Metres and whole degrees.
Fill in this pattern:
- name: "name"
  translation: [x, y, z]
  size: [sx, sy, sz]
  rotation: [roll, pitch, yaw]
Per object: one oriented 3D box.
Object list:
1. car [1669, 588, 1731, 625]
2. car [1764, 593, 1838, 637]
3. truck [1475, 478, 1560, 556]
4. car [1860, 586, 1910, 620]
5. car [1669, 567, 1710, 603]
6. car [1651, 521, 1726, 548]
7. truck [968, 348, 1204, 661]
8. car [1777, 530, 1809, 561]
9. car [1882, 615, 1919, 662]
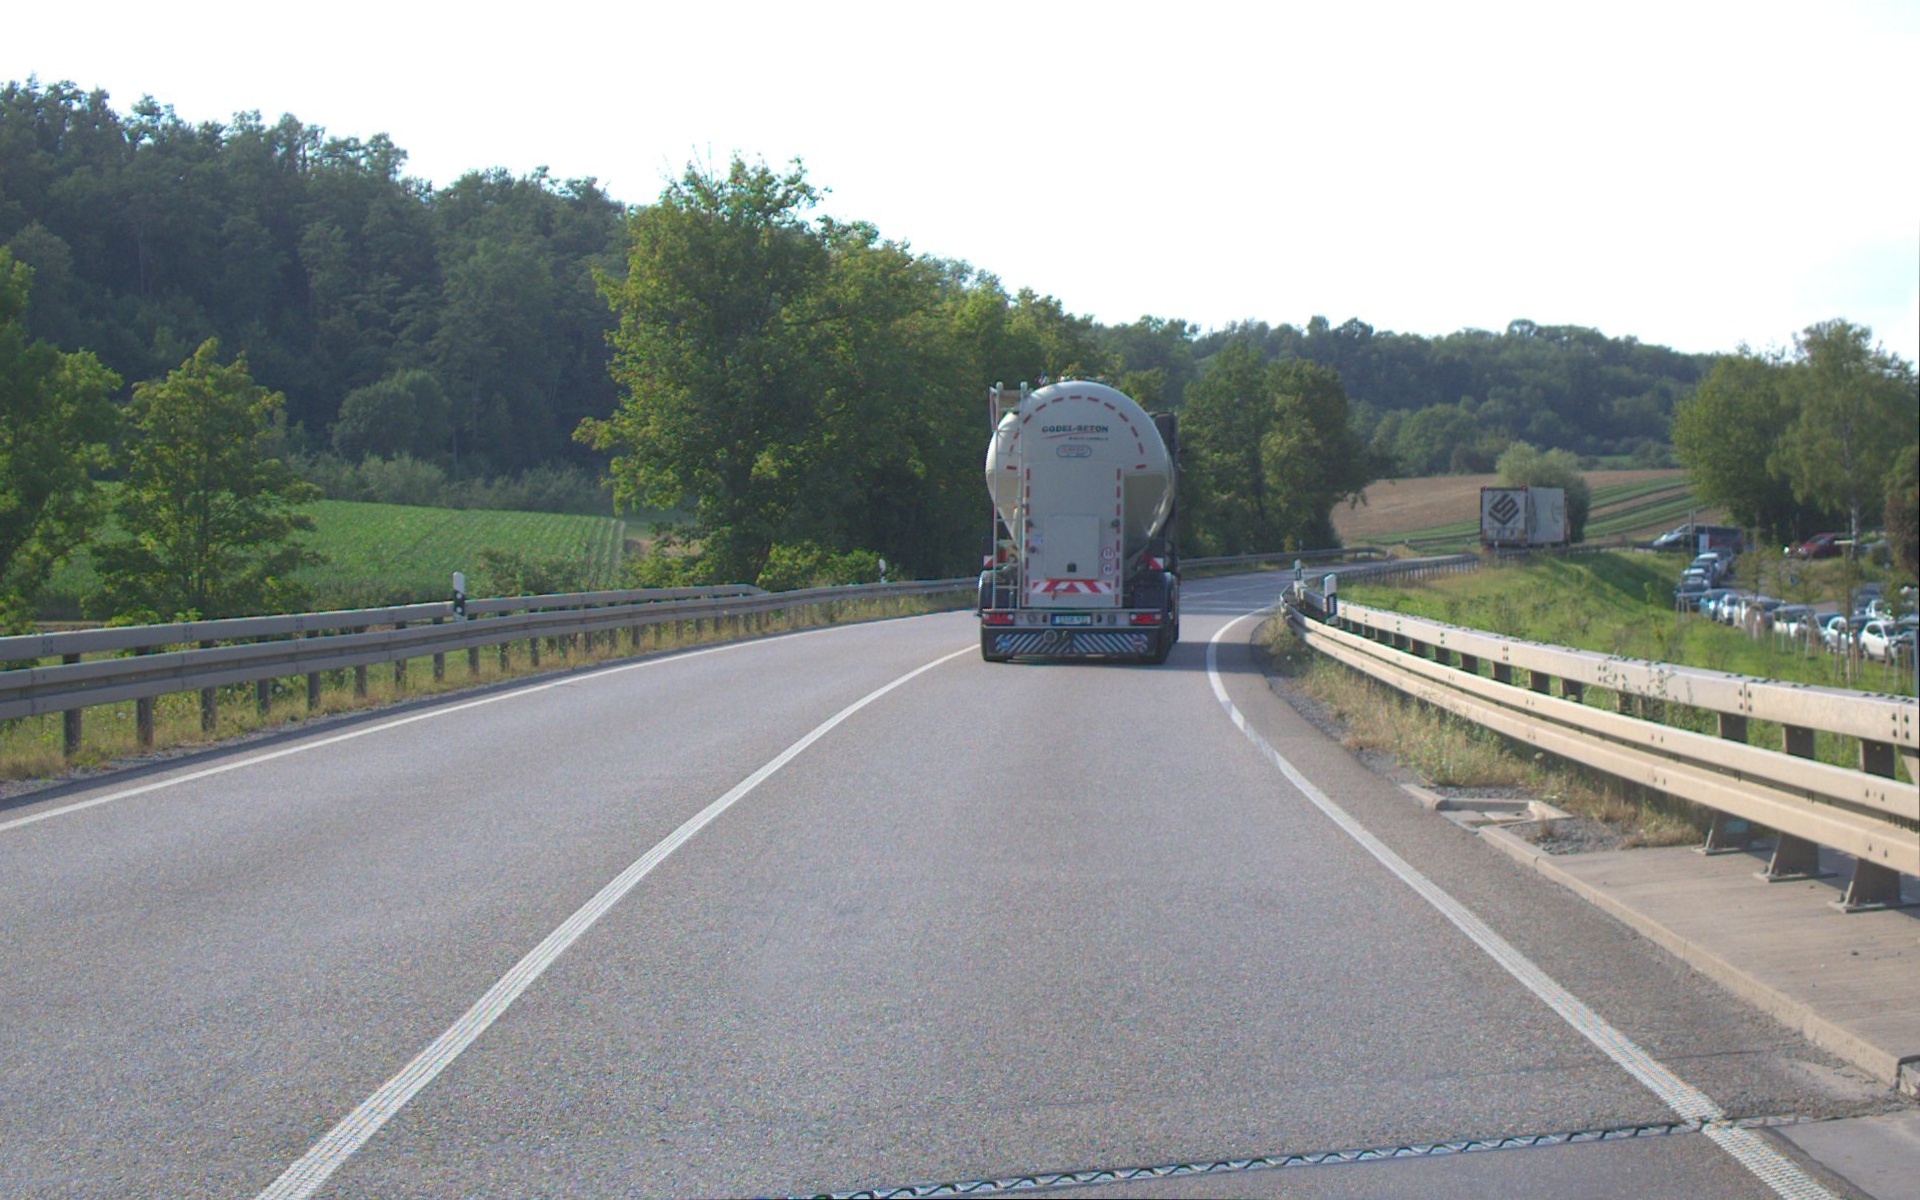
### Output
- name: "car"
  translation: [37.106, 0.308, 172.433]
  size: [1.892, 1.554, 4.783]
  rotation: [-4, 2, -1]
- name: "car"
  translation: [36.498, 0.626, 149.349]
  size: [1.892, 1.554, 4.783]
  rotation: [-4, 2, -1]
- name: "truck"
  translation: [31.834, -4.812, 195.964]
  size: [3.186, 4.213, 13.163]
  rotation: [0, 2, 16]
- name: "car"
  translation: [42.731, 0.134, 158.917]
  size: [1.701, 1.394, 3.944]
  rotation: [-3, 1, 8]
- name: "car"
  translation: [39.081, -0.827, 184.036]
  size: [1.893, 1.554, 4.780]
  rotation: [-3, 3, 14]
- name: "car"
  translation: [46.559, -4.172, 219.695]
  size: [4.310, 1.395, 1.721]
  rotation: [3, 4, -8]
- name: "truck"
  translation: [2.122, -1.349, 52.041]
  size: [2.893, 4.128, 13.170]
  rotation: [0, 1, 5]
- name: "car"
  translation: [53.343, -3.510, 220.178]
  size: [1.893, 1.681, 5.084]
  rotation: [-3, 3, 14]
- name: "car"
  translation: [35.653, 1.410, 126.262]
  size: [1.892, 1.477, 4.784]
  rotation: [-4, 2, -4]
